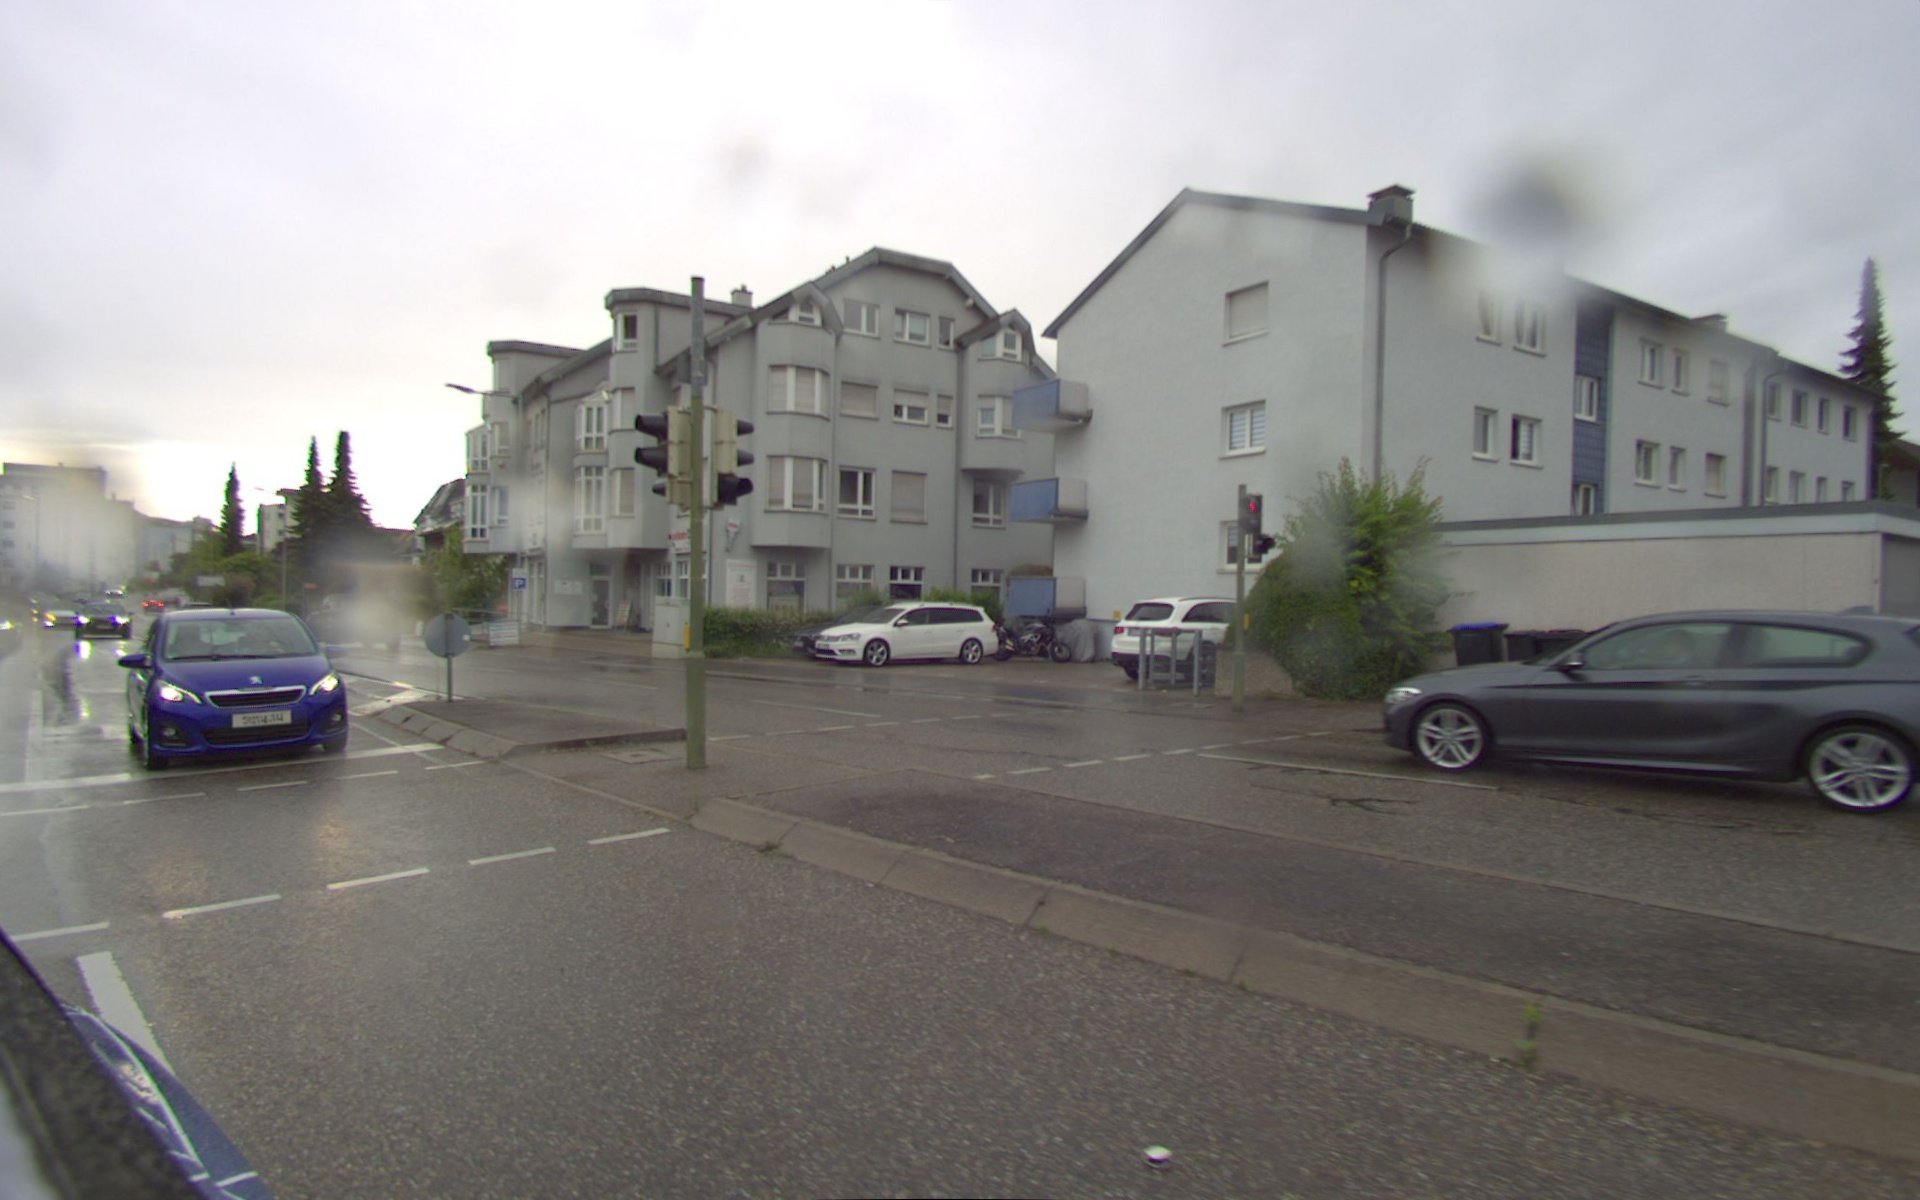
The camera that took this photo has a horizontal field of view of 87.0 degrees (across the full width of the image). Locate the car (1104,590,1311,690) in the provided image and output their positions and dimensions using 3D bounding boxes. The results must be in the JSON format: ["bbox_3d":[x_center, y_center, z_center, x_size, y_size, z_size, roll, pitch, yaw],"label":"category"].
[{"bbox_3d":[4.878,0.715,19.775,3.934,1.763,1.833,0,-1,-36],"label":"car"}]

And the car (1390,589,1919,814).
[{"bbox_3d":[5.930,0.674,8.208,4.163,1.483,1.768,-1,0,43],"label":"car"}]

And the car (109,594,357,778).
[{"bbox_3d":[-7.555,0.743,10.409,1.628,1.568,3.354,0,0,-44],"label":"car"}]

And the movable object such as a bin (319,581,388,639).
[{"bbox_3d":[-31.099,0.494,51.965,2.877,2.863,2.204,0,-1,-27],"label":"movable object such as a bin"}]

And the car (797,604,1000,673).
[{"bbox_3d":[-1.416,0.864,24.348,4.550,1.508,1.934,0,0,-36],"label":"car"}]

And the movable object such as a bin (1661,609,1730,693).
[{"bbox_3d":[9.088,0.621,12.507,0.492,0.968,0.536,-4,3,-33],"label":"movable object such as a bin"}]

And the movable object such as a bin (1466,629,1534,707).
[{"bbox_3d":[7.715,0.957,14.471,0.492,1.026,0.689,-4,3,-32],"label":"movable object such as a bin"}]

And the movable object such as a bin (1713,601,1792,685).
[{"bbox_3d":[9.422,0.494,12.039,0.492,0.968,0.603,0,-1,-33],"label":"movable object such as a bin"}]

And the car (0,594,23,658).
[{"bbox_3d":[-30.087,0.758,30.920,1.969,1.874,4.005,3,-2,-42],"label":"car"}]

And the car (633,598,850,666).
[{"bbox_3d":[-5.853,0.803,27.528,5.391,1.696,2.152,0,-1,-37],"label":"car"}]

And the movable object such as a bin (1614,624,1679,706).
[{"bbox_3d":[8.796,0.823,12.967,0.492,0.968,0.536,-4,3,-33],"label":"movable object such as a bin"}]

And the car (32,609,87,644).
[{"bbox_3d":[-51.068,1.501,57.389,4.001,1.874,1.971,0,-2,44],"label":"car"}]

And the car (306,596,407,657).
[{"bbox_3d":[-19.621,0.806,32.813,2.071,1.847,4.741,0,0,-40],"label":"car"}]

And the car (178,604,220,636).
[{"bbox_3d":[-49.175,1.262,65.363,1.969,2.029,4.006,0,-1,-40],"label":"car"}]

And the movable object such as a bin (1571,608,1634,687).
[{"bbox_3d":[8.508,0.619,13.411,0.492,0.968,0.536,-4,3,-33],"label":"movable object such as a bin"}]

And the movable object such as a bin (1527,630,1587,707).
[{"bbox_3d":[8.182,0.926,13.874,0.492,0.968,0.536,-4,3,-33],"label":"movable object such as a bin"}]

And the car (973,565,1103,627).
[{"bbox_3d":[2.645,-0.132,34.628,3.931,2.029,2.006,0,0,-17],"label":"car"}]

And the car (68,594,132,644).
[{"bbox_3d":[-36.445,0.791,42.979,1.968,2.029,4.007,0,-1,-39],"label":"car"}]
